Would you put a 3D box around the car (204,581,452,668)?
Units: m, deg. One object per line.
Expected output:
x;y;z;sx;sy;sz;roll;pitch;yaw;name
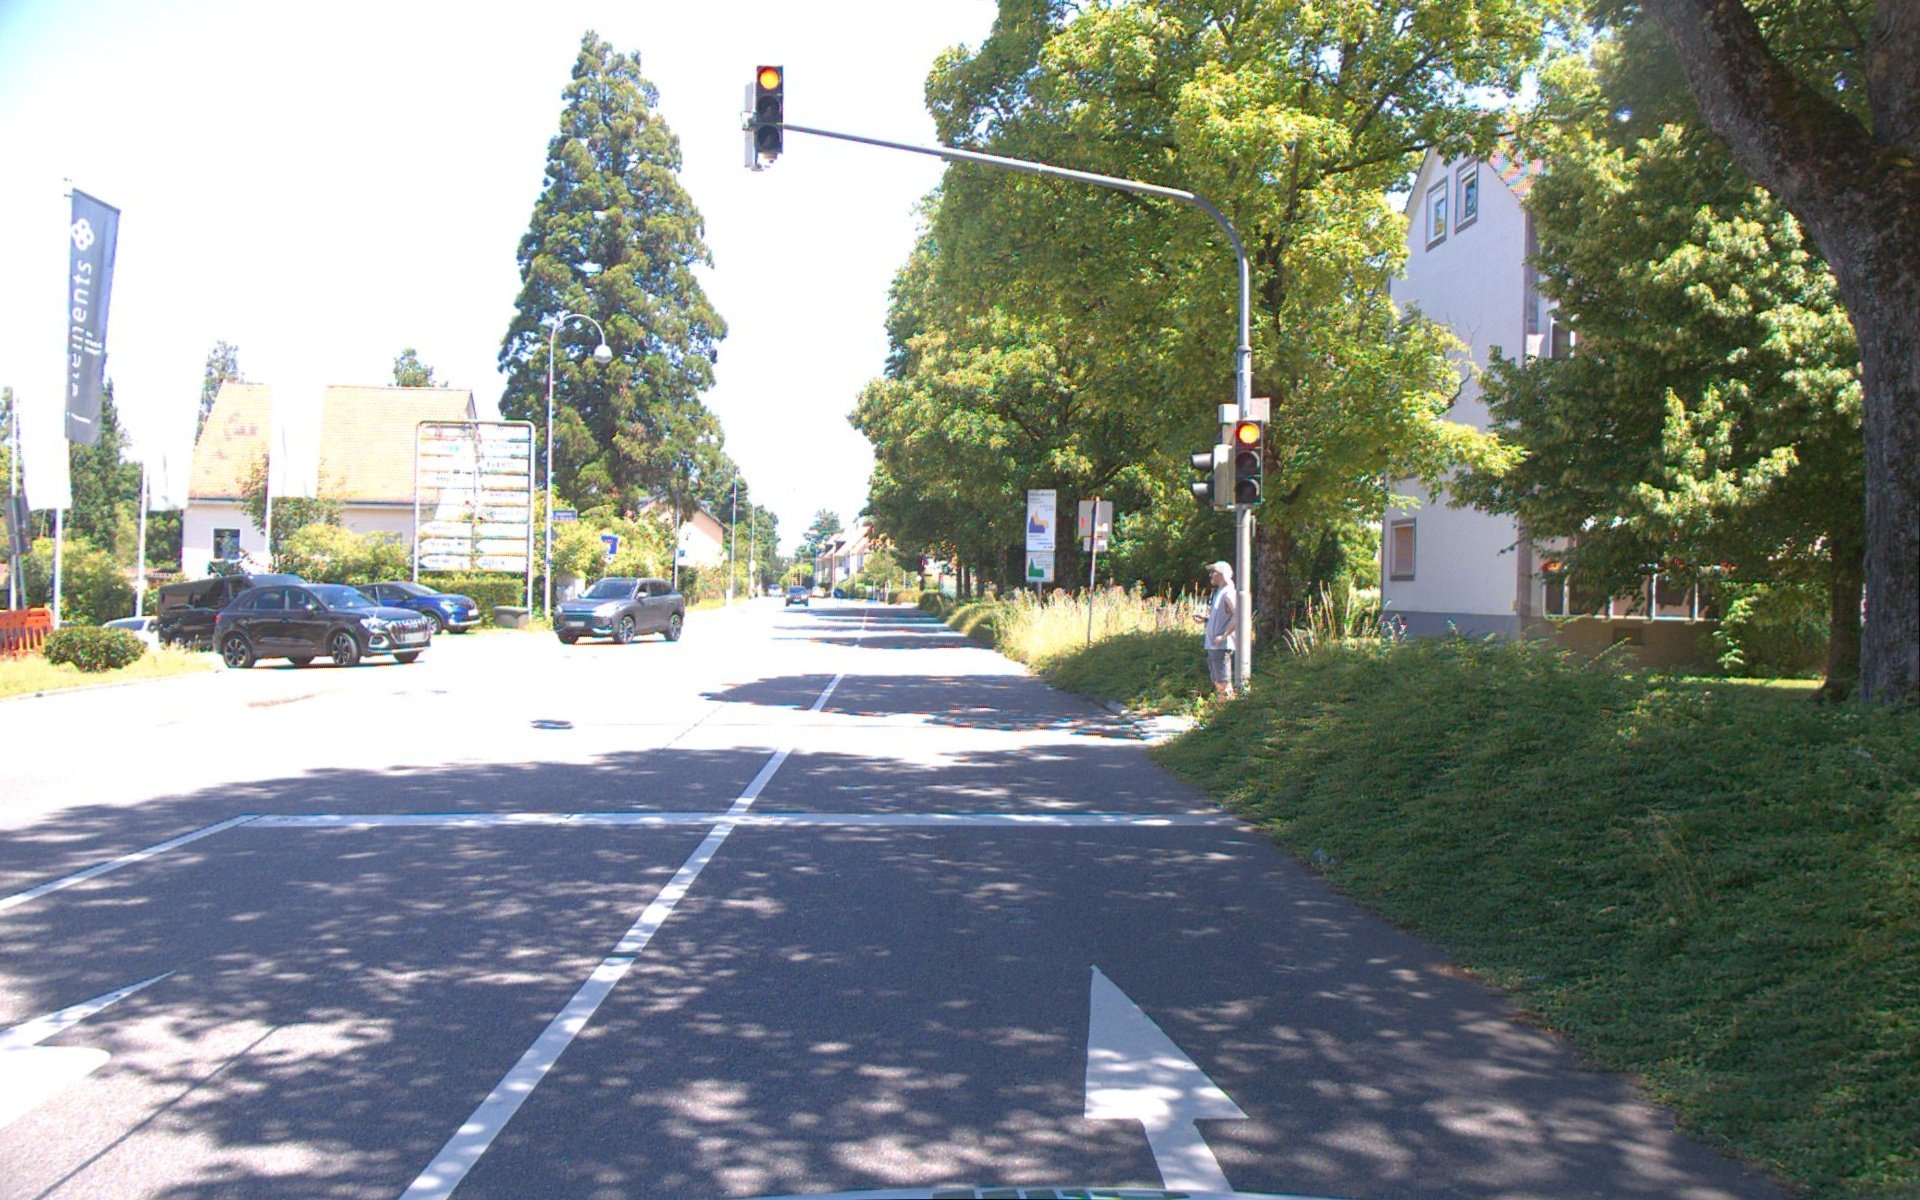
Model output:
-12.124;0.477;31.778;4.204;1.553;1.929;-1;0;20;car

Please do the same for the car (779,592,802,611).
-12.785;0.127;125.137;1.402;1.345;3.354;1;0;0;car

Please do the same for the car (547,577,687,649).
-8.791;0.307;42.755;1.839;1.747;4.313;1;0;14;car

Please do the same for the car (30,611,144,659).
-24.845;0.981;47.192;1.713;1.247;3.240;1;0;-5;car

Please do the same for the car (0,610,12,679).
-23.287;0.988;35.902;4.216;1.513;1.996;0;0;-9;car

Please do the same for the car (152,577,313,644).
-18.473;0.250;42.104;3.425;1.645;1.598;0;0;-8;car

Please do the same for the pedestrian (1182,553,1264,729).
2.718;0.417;17.124;0.556;1.781;0.607;1;-1;-39;pedestrian

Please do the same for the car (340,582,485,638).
-14.578;0.263;44.197;3.425;1.452;1.598;0;0;-8;car
